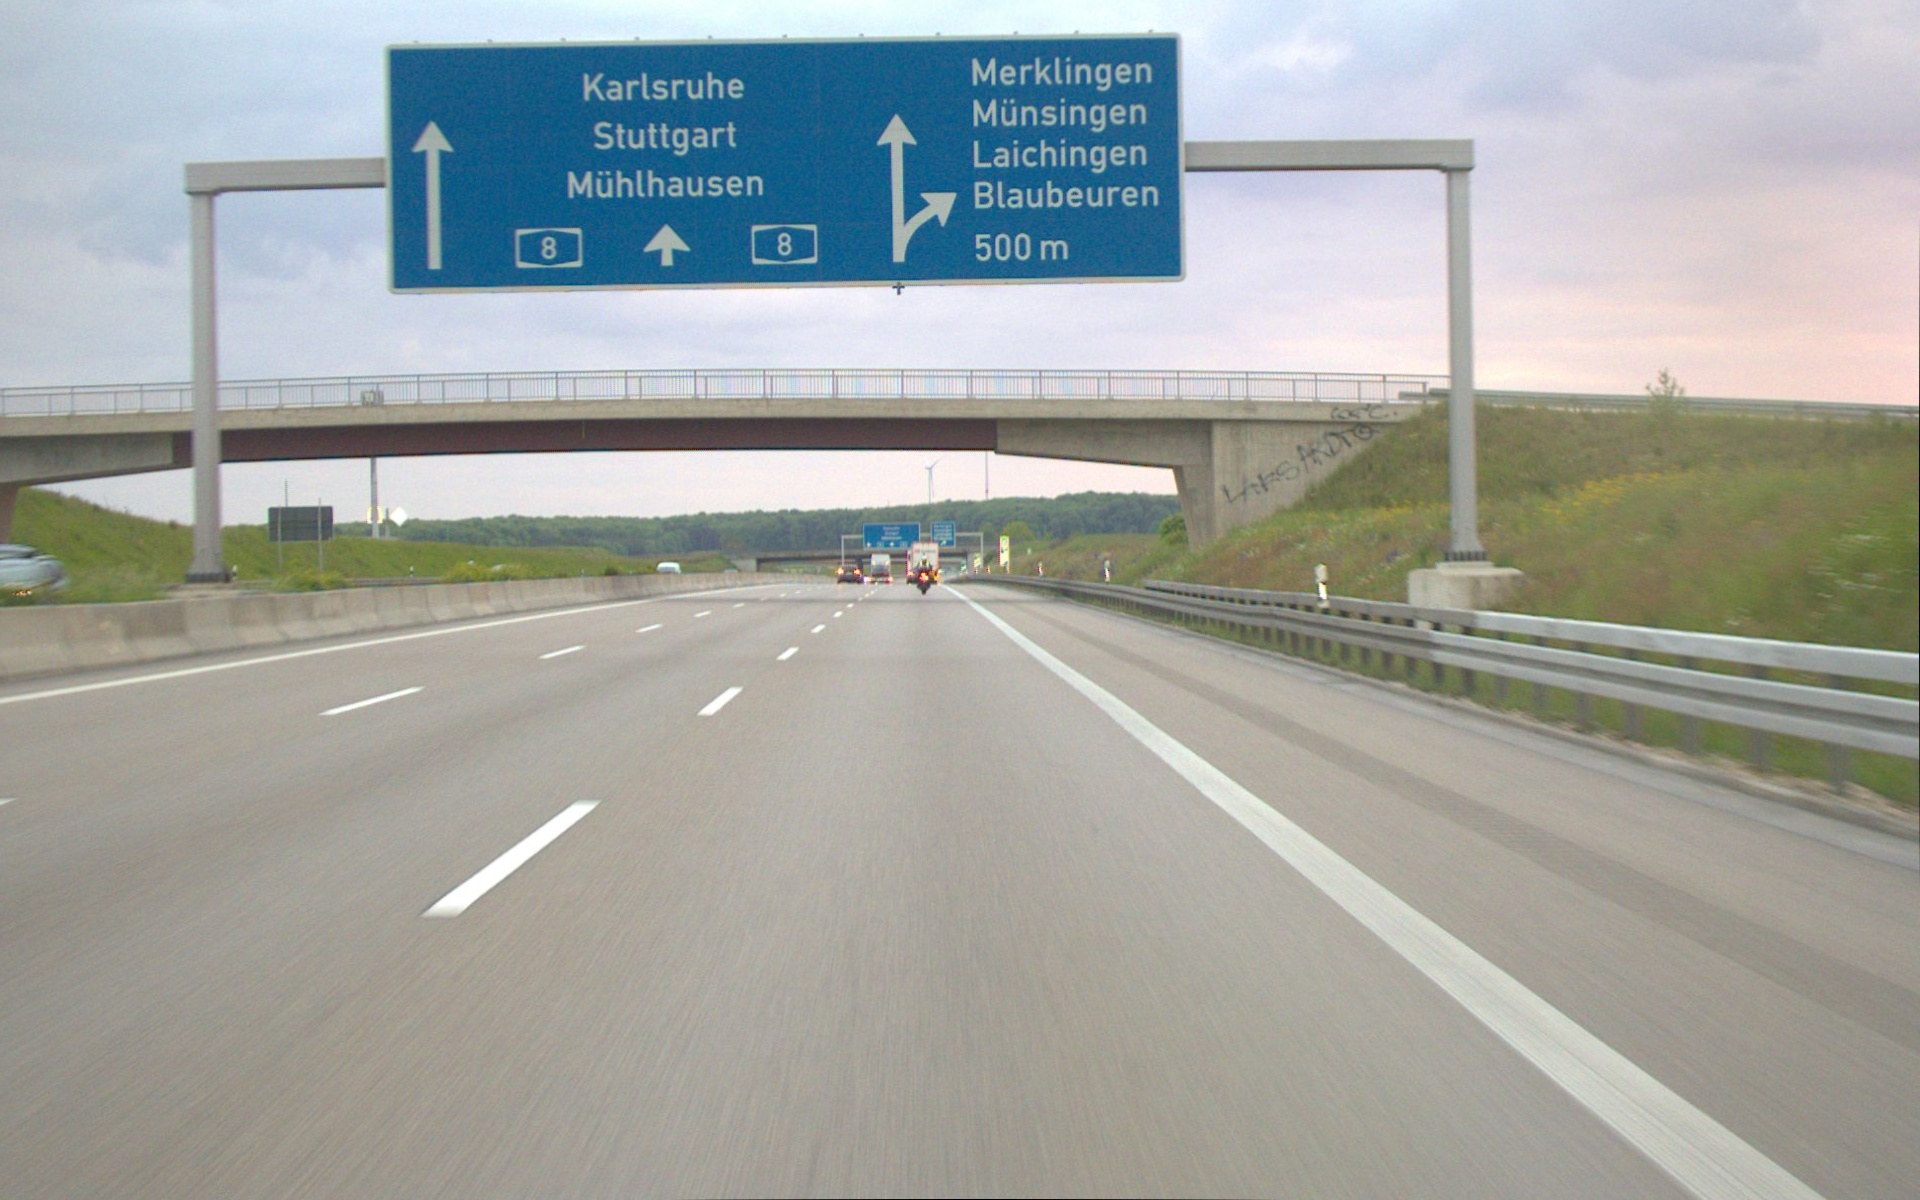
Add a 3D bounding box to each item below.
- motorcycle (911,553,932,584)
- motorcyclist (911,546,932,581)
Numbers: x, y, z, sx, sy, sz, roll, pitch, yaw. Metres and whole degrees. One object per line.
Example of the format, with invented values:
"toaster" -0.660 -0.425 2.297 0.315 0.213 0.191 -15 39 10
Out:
"motorcycle" -1.668 -1.387 149.457 0.902 1.342 2.349 0 1 -1
"motorcyclist" -1.673 -1.584 149.504 0.866 1.482 1.168 1 0 1
